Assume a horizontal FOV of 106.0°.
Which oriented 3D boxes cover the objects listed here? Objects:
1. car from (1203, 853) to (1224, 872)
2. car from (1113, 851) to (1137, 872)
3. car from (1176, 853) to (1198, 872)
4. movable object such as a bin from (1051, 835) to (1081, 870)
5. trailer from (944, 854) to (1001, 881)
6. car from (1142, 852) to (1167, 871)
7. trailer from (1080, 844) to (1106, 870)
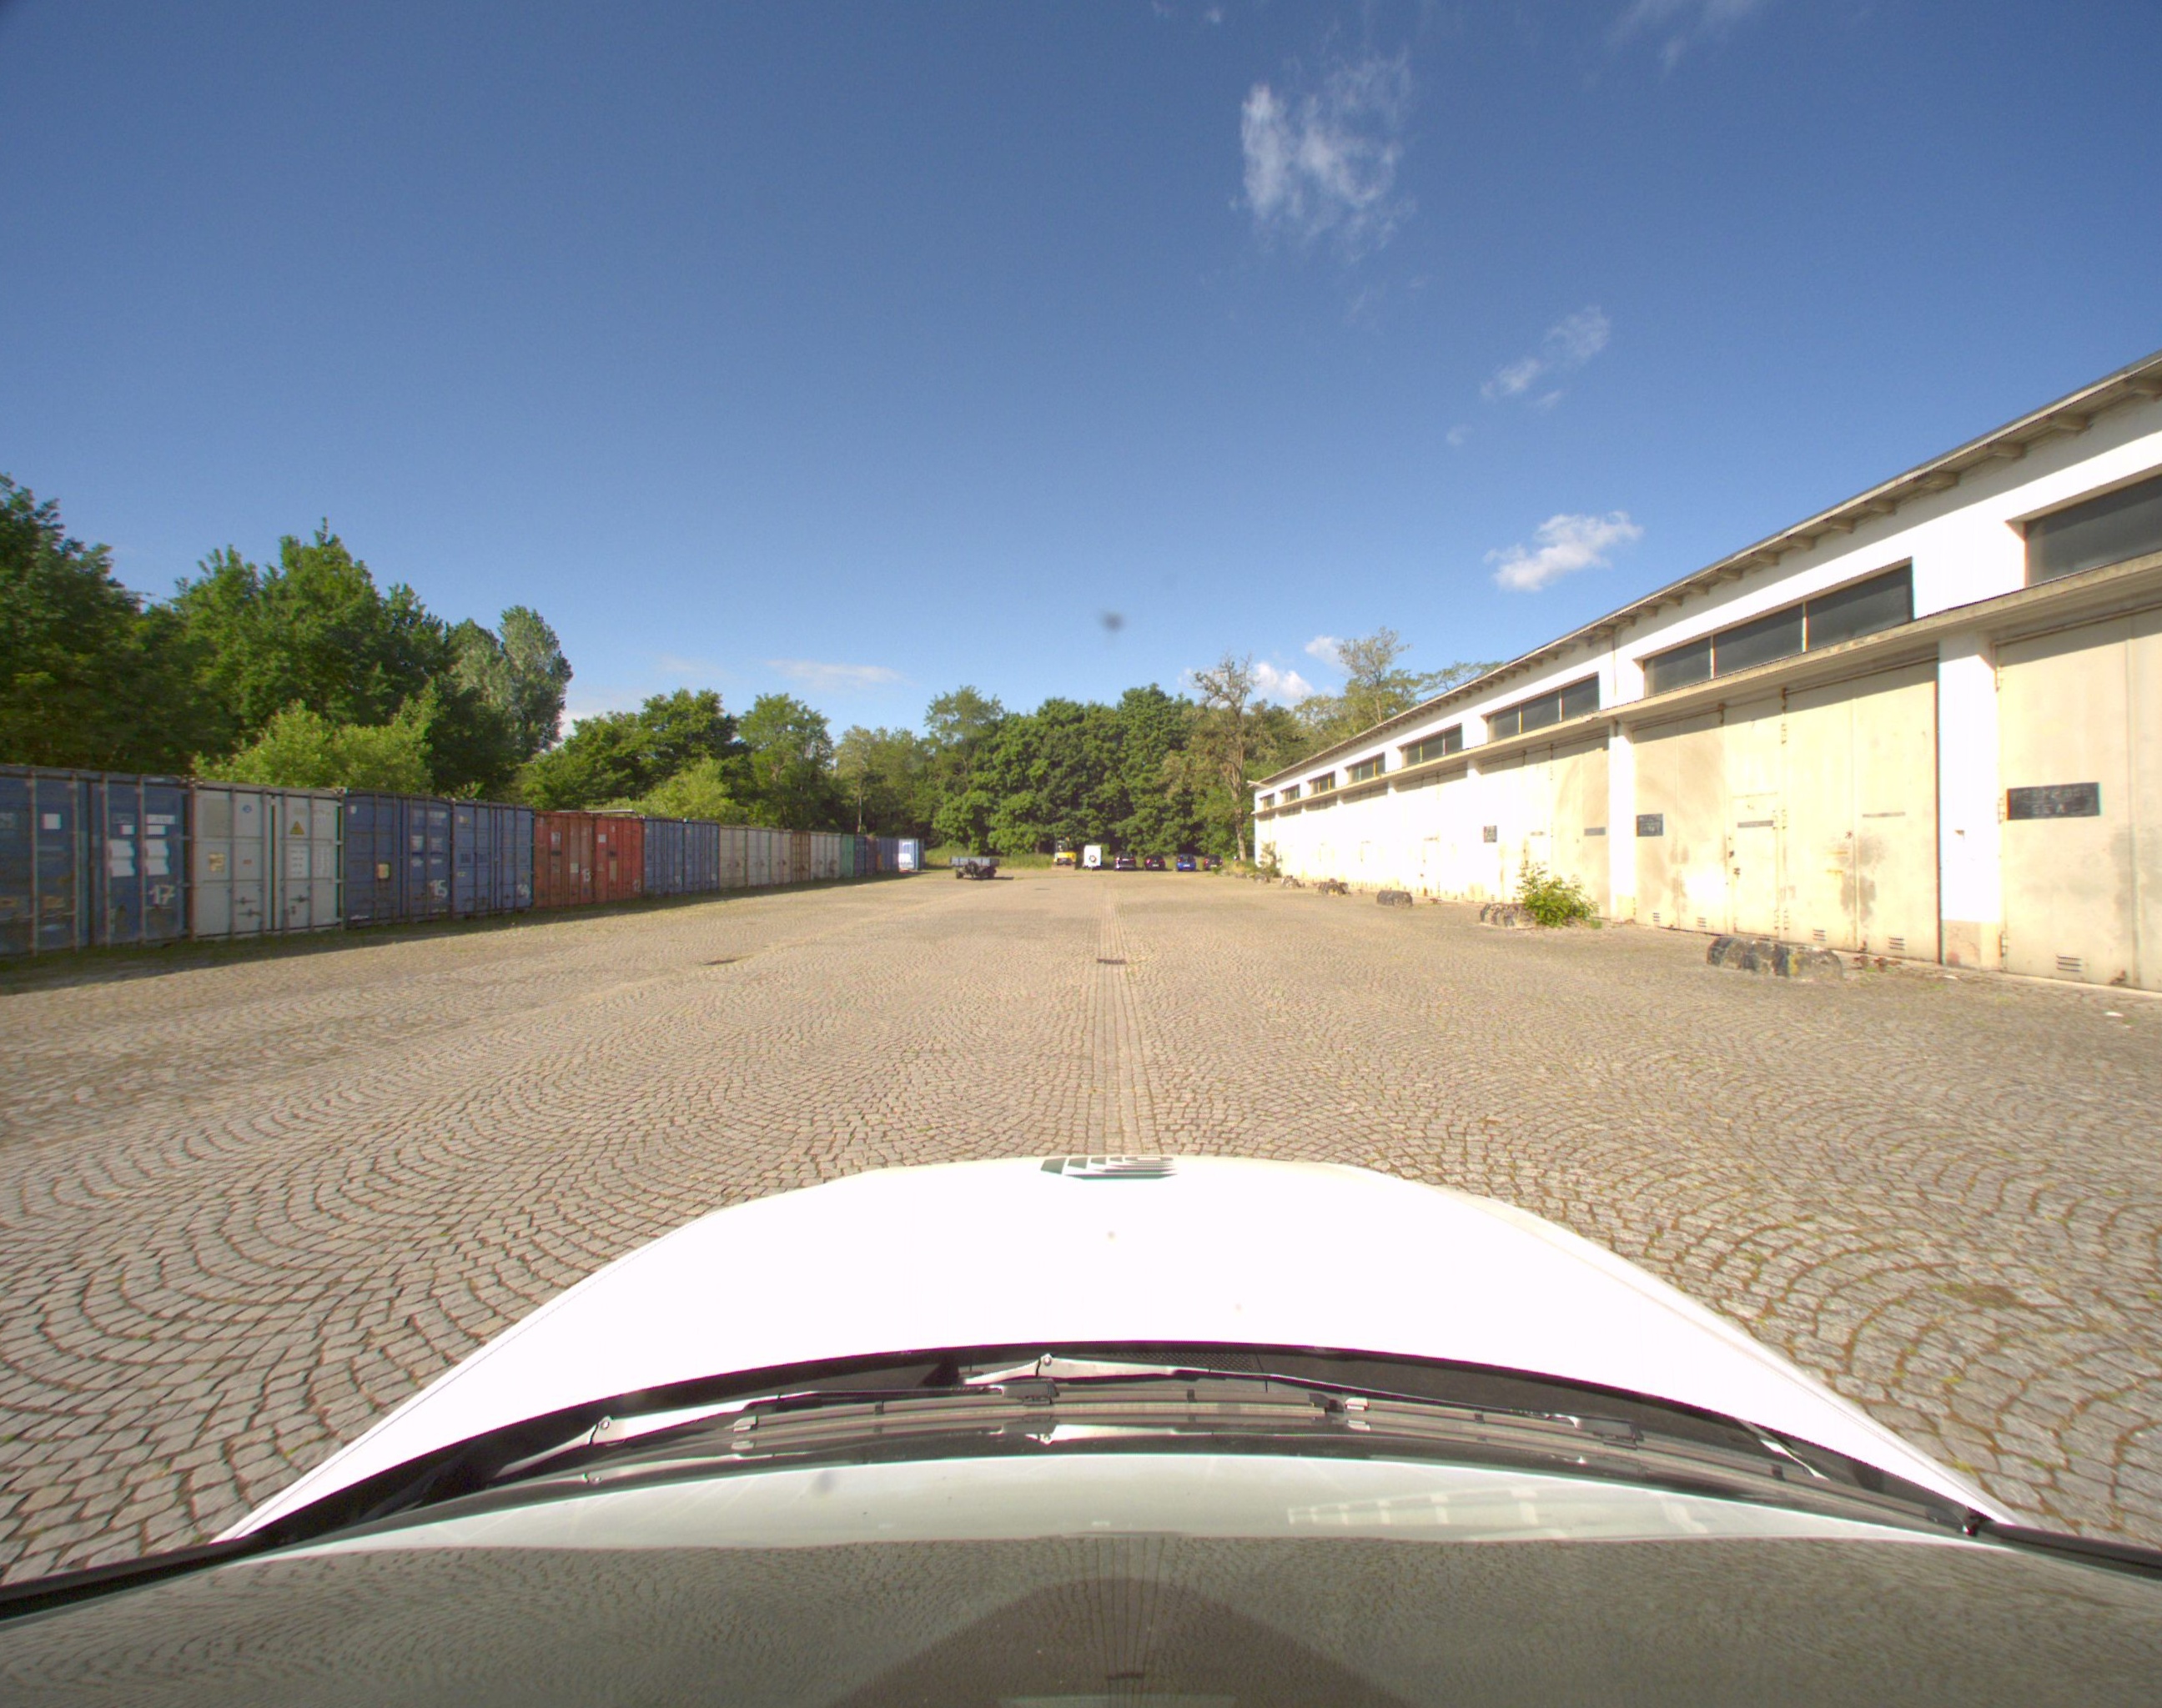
[{"bbox_3d":[11.433,0.706,70.275,1.734,1.436,4.193,1,1,8],"label":"car"},{"bbox_3d":[3.700,0.586,68.691,1.857,1.589,4.297,1,1,1],"label":"car"},{"bbox_3d":[8.948,0.710,68.908,1.735,1.436,4.191,1,1,7],"label":"car"},{"bbox_3d":[-1.278,-0.158,71.754,2.297,2.896,5.755,1,1,2],"label":"movable object such as a bin"},{"bbox_3d":[-6.704,0.816,51.149,2.696,1.465,6.247,1,1,0],"label":"trailer"},{"bbox_3d":[6.193,0.627,69.016,1.857,1.470,4.297,1,1,1],"label":"car"},{"bbox_3d":[1.076,0.205,71.117,2.185,2.094,5.753,1,1,1],"label":"trailer"}]
